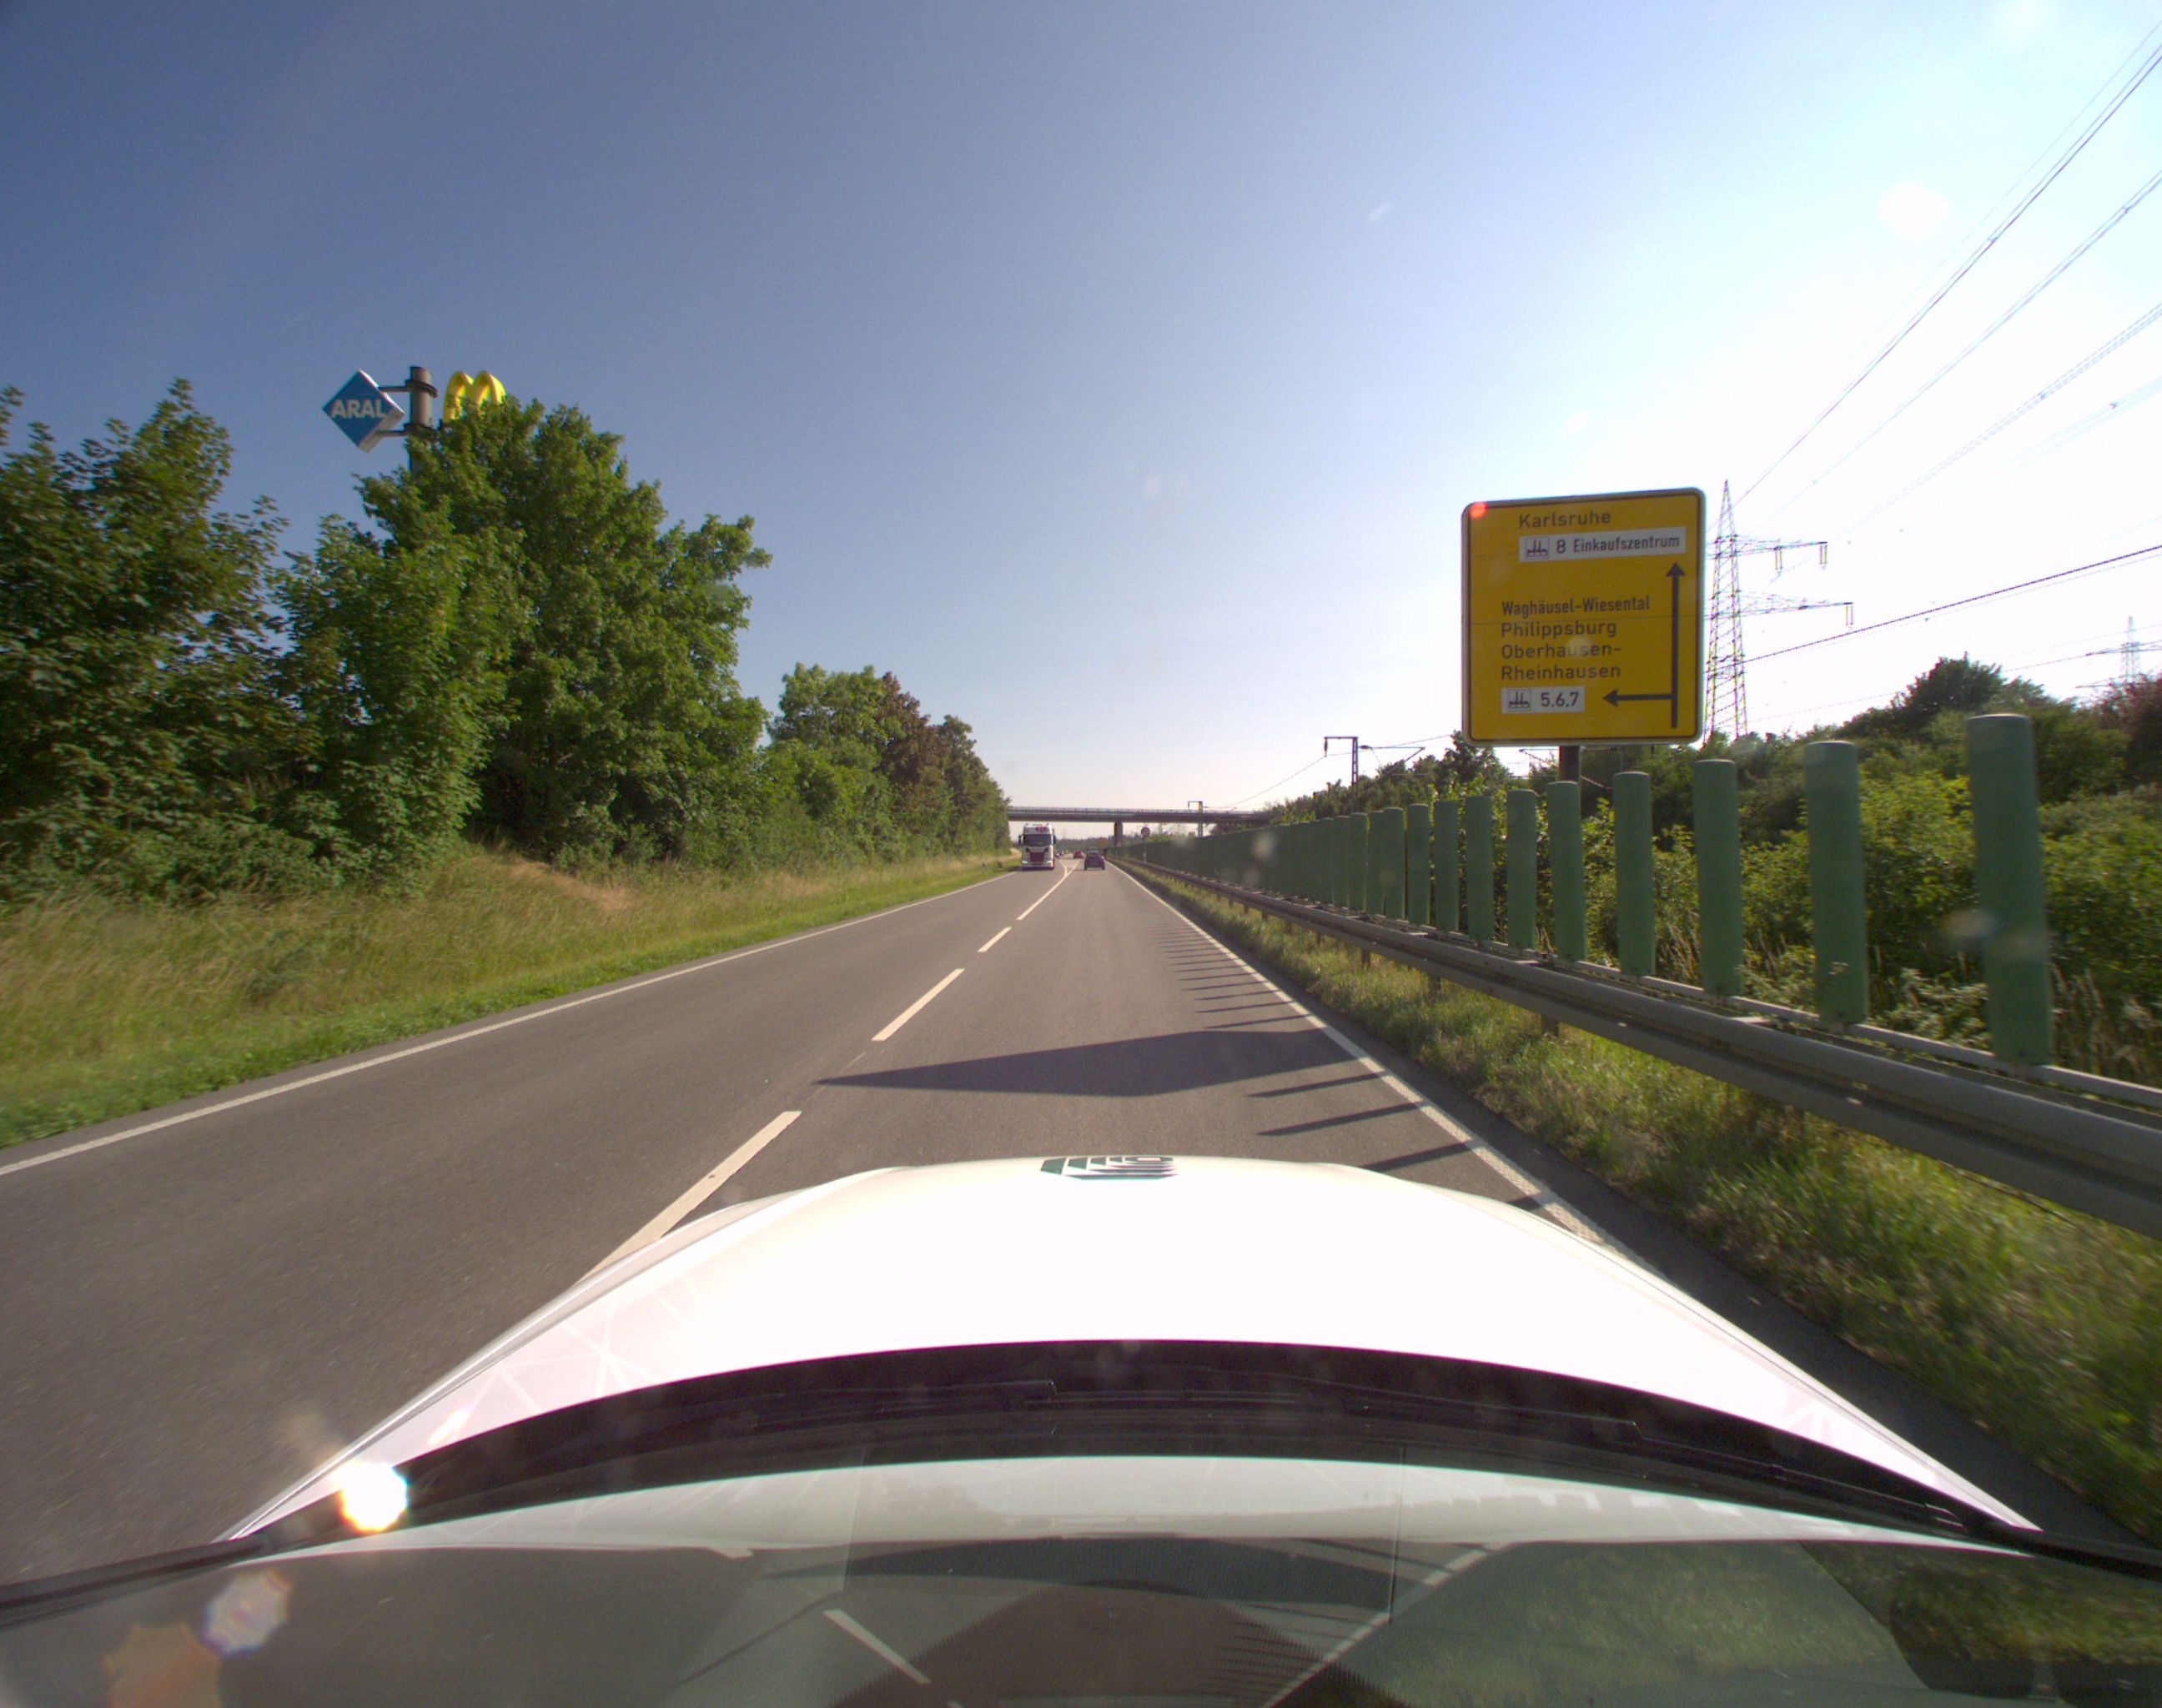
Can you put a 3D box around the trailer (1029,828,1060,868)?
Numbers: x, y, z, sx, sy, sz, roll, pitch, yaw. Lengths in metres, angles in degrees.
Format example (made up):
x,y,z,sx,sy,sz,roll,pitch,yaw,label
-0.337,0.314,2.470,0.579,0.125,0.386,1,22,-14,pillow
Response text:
x,y,z,sx,sy,sz,roll,pitch,yaw,label
-3.388,-0.589,78.083,2.551,3.595,8.292,-1,0,0,trailer

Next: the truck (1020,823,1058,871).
x,y,z,sx,sy,sz,roll,pitch,yaw,label
-3.412,-0.555,68.703,2.551,3.688,10.486,-1,0,0,truck

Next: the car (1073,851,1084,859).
x,y,z,sx,sy,sz,roll,pitch,yaw,label
-0.500,0.204,147.516,1.889,1.418,4.000,-1,0,0,car

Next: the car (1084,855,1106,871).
x,y,z,sx,sy,sz,roll,pitch,yaw,label
1.072,0.706,64.614,1.658,1.261,4.000,-1,0,0,car

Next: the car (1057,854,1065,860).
x,y,z,sx,sy,sz,roll,pitch,yaw,label
-5.178,0.775,212.490,1.917,1.593,4.426,-1,0,-3,car
